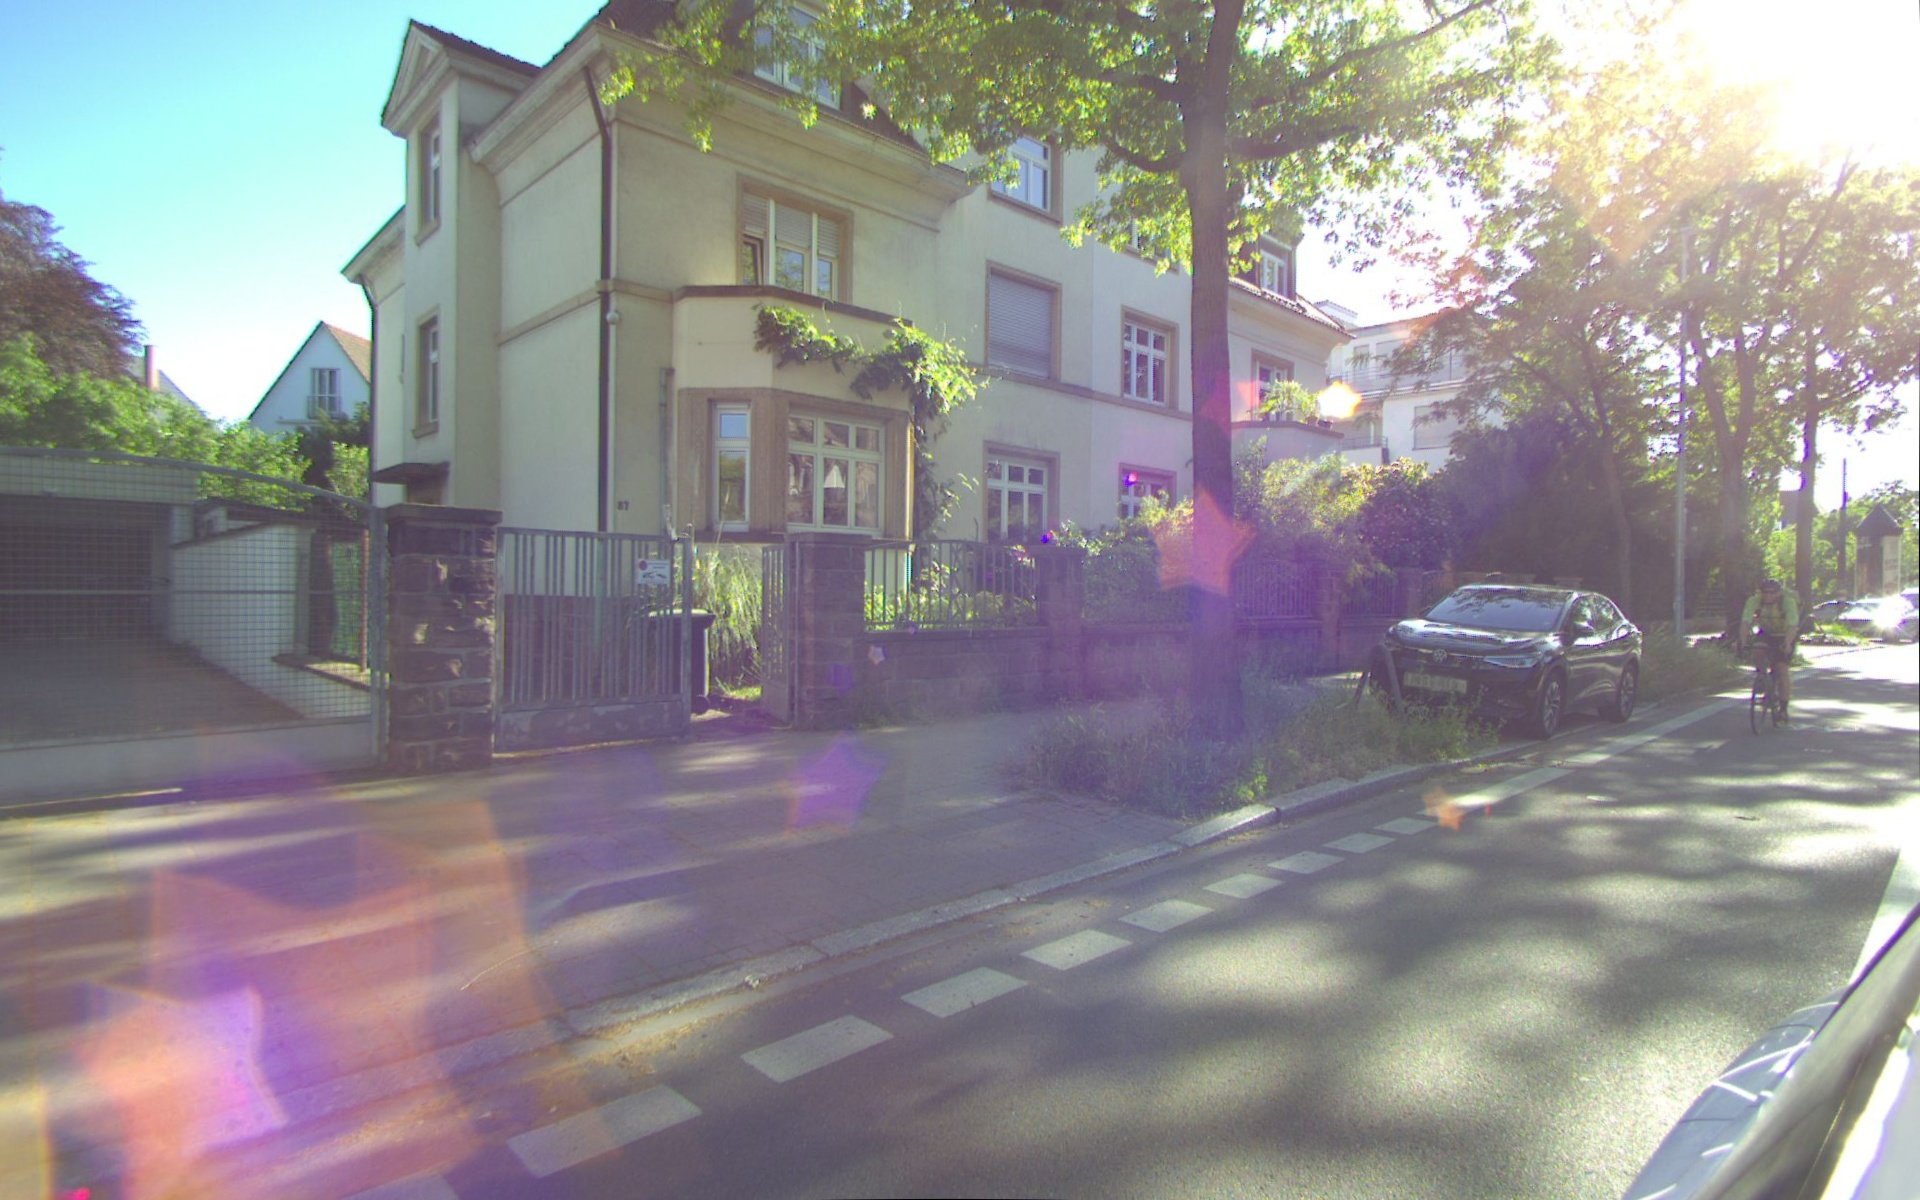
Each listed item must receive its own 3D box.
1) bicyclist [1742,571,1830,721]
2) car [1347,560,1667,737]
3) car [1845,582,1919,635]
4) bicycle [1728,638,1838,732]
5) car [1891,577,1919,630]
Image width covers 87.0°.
[{"bbox_3d":[9.619,0.505,11.787,0.732,1.679,0.677,0,0,-41],"label":"bicyclist"},{"bbox_3d":[6.695,0.484,12.197,4.304,1.695,1.997,1,2,-42],"label":"car"},{"bbox_3d":[31.503,0.256,34.100,3.927,1.660,1.824,0,1,-38],"label":"car"},{"bbox_3d":[9.608,0.946,11.790,1.852,0.937,0.677,0,1,-41],"label":"bicycle"},{"bbox_3d":[36.853,0.130,38.109,4.663,1.919,2.128,0,1,-41],"label":"car"}]
